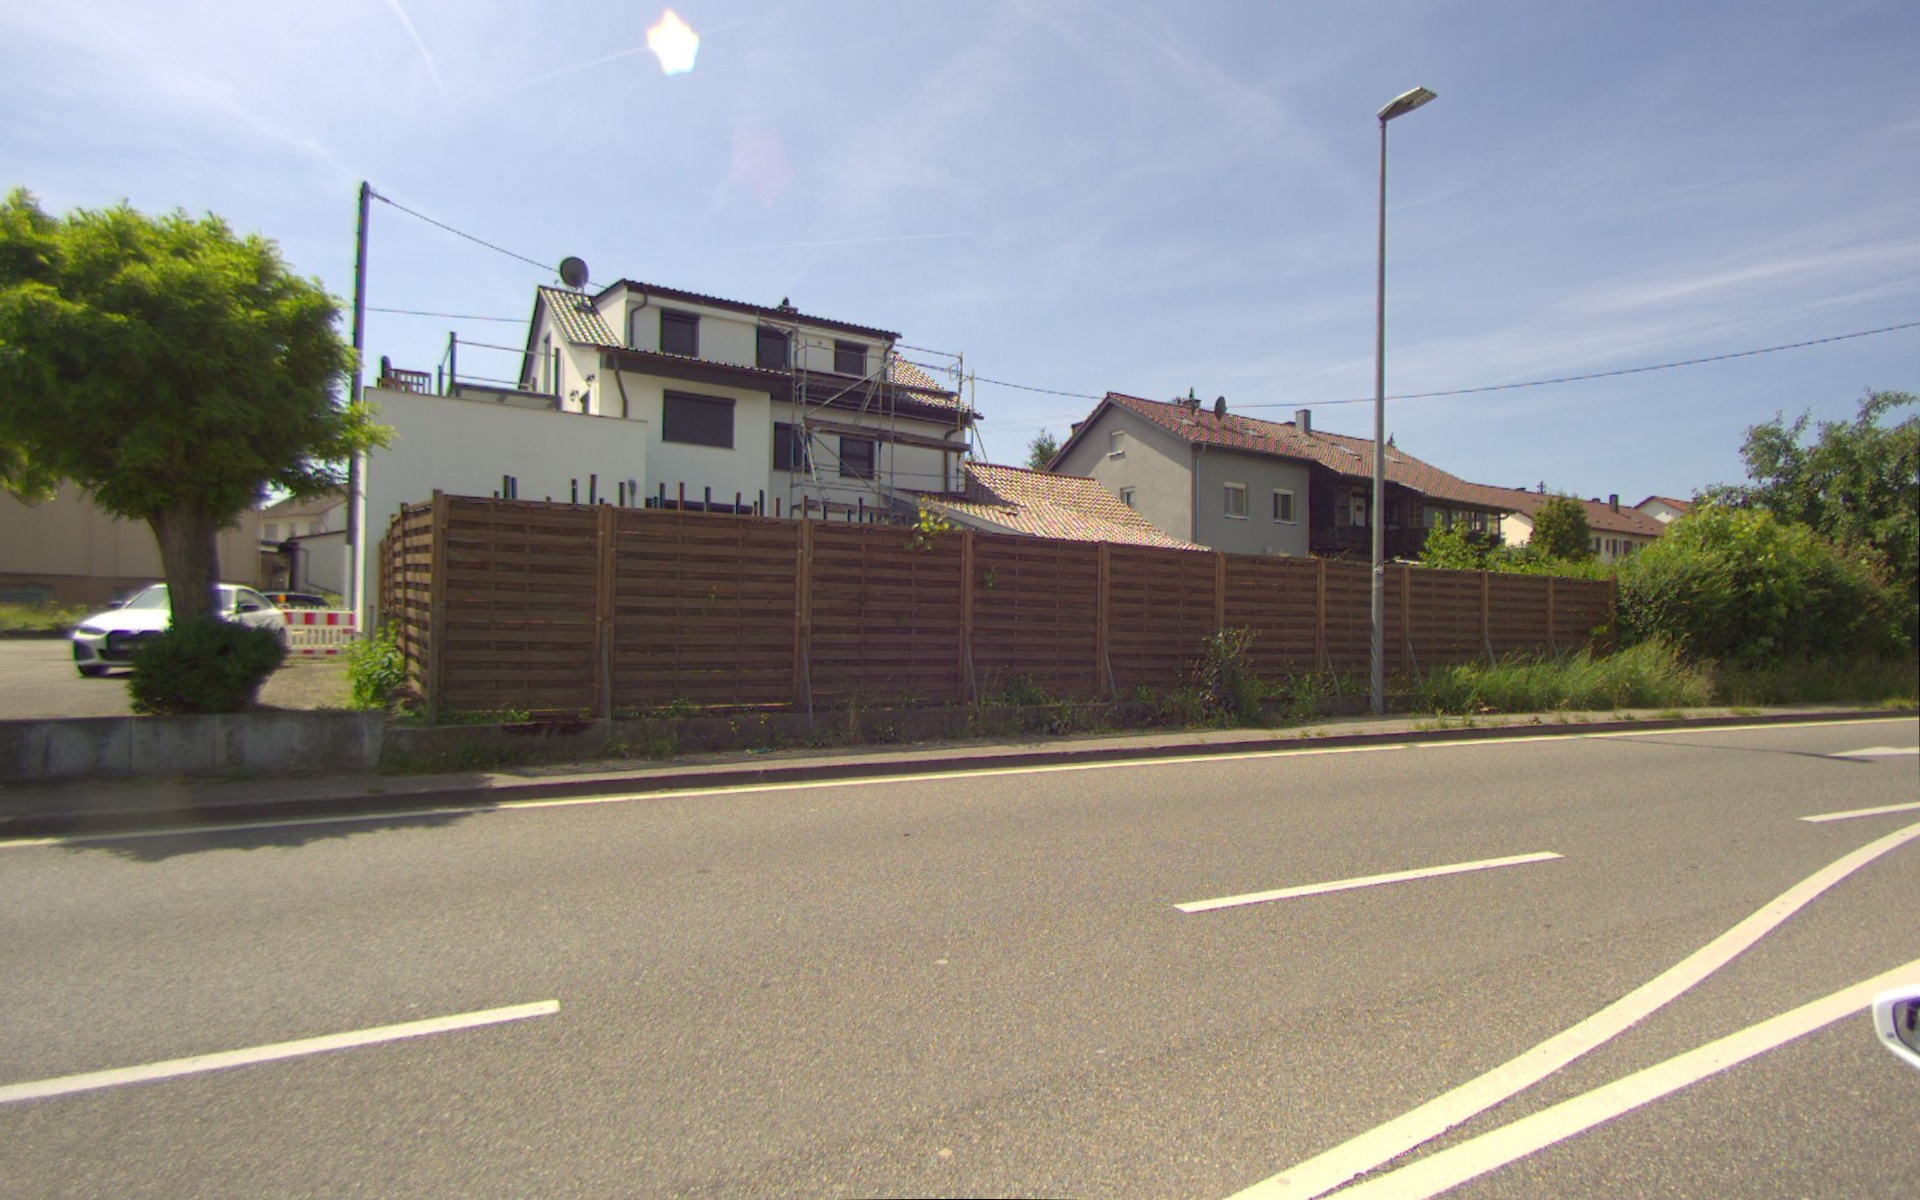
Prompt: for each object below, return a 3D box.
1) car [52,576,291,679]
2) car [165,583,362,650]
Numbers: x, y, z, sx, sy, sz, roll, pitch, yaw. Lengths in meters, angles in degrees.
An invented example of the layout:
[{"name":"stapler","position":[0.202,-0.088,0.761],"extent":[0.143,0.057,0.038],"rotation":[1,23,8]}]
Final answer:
[{"name":"car","position":[-12.794,0.433,16.629],"extent":[1.854,1.459,3.983],"rotation":[2,-1,-19]},{"name":"car","position":[-17.757,0.386,25.852],"extent":[1.904,1.538,4.002],"rotation":[1,0,9]}]
